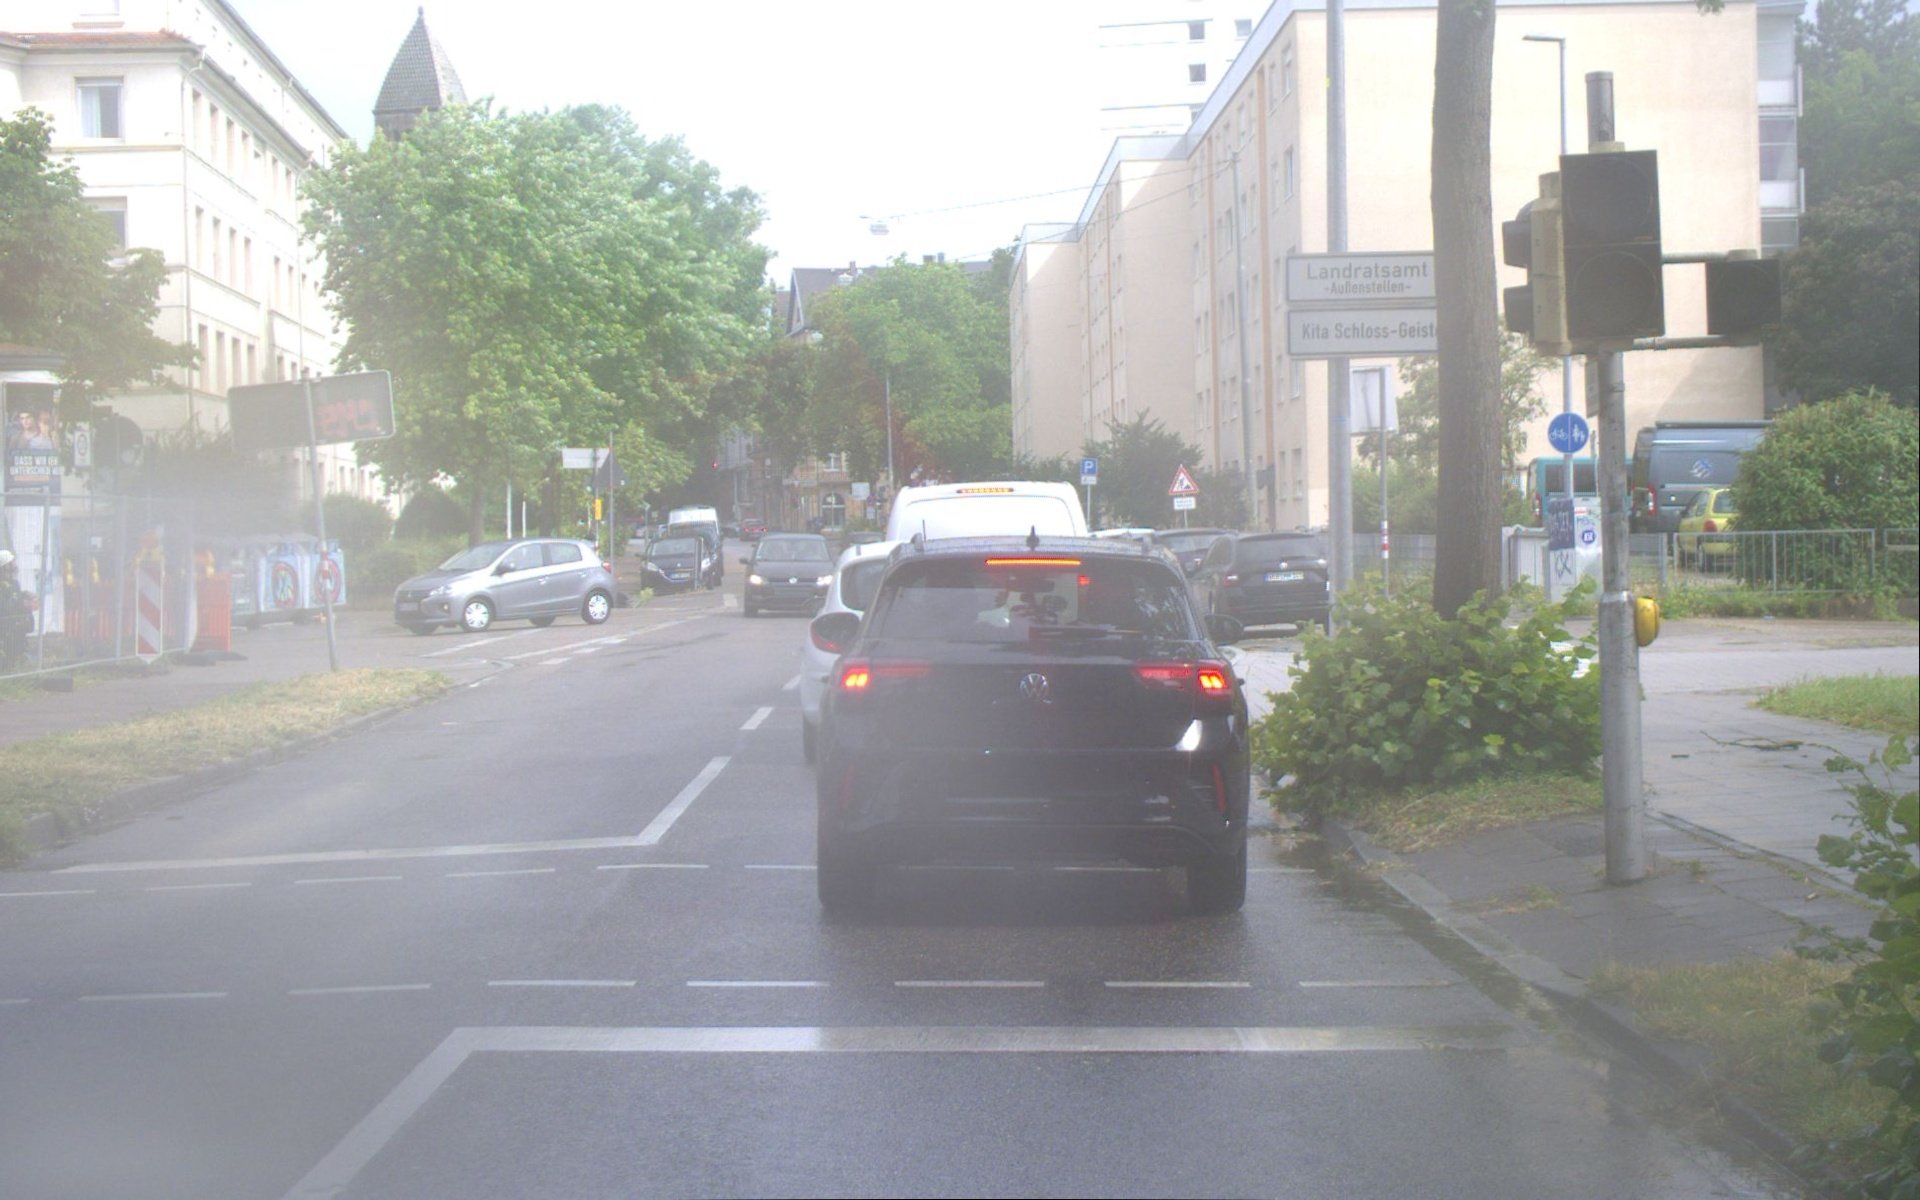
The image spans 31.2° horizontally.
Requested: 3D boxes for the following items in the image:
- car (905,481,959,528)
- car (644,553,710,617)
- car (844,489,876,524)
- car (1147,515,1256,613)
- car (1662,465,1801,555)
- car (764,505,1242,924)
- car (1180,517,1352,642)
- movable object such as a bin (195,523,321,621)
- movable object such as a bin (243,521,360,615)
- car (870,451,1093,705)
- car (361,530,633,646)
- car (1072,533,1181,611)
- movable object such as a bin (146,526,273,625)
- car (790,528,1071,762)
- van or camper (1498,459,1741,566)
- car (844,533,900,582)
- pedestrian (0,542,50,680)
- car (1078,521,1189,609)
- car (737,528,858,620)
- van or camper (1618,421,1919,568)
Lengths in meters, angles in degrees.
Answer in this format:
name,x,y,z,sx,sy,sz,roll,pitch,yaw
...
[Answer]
name,x,y,z,sx,sy,sz,roll,pitch,yaw
car,-1.013,-3.508,126.763,1.841,1.602,3.675,-3,1,1
car,-7.212,-0.401,87.620,1.585,1.500,4.065,-3,1,-5
car,-5.514,-5.166,189.809,1.665,1.831,4.001,-2,2,-2
car,4.120,-0.587,58.950,1.757,1.522,3.999,2,-1,3
car,13.251,-1.549,59.203,1.610,1.444,3.417,-2,1,1
car,0.155,0.430,15.612,1.873,1.640,4.062,1,1,0
car,4.170,-0.322,47.504,1.774,1.534,4.379,-4,1,-2
movable object such as a bin,-12.621,-0.505,61.852,1.539,1.668,1.664,-1,2,19
movable object such as a bin,-12.122,-0.596,63.366,1.539,1.656,1.457,-1,2,19
car,0.236,-0.201,30.714,1.836,2.095,4.000,1,0,2
car,-7.481,-0.210,55.795,1.894,1.631,3.990,-2,1,44
car,3.372,-0.592,70.262,1.748,1.503,4.113,-1,1,-4
movable object such as a bin,-13.151,-0.434,60.292,1.539,1.650,1.526,-1,2,19
car,-0.199,0.276,24.317,1.813,1.498,4.000,1,0,0
van or camper,13.930,-1.855,72.876,4.760,2.124,2.321,-1,2,4
car,-3.107,-1.516,121.780,1.740,1.602,3.675,-3,1,1
pedestrian,-11.267,0.123,40.743,0.721,1.624,0.684,0,0,-37
car,3.211,-0.670,64.336,1.604,1.503,4.160,-3,1,-2
car,-2.812,-0.455,60.155,1.813,1.535,3.982,0,0,2
van or camper,14.725,-1.896,62.743,4.998,2.546,2.175,-1,0,1
